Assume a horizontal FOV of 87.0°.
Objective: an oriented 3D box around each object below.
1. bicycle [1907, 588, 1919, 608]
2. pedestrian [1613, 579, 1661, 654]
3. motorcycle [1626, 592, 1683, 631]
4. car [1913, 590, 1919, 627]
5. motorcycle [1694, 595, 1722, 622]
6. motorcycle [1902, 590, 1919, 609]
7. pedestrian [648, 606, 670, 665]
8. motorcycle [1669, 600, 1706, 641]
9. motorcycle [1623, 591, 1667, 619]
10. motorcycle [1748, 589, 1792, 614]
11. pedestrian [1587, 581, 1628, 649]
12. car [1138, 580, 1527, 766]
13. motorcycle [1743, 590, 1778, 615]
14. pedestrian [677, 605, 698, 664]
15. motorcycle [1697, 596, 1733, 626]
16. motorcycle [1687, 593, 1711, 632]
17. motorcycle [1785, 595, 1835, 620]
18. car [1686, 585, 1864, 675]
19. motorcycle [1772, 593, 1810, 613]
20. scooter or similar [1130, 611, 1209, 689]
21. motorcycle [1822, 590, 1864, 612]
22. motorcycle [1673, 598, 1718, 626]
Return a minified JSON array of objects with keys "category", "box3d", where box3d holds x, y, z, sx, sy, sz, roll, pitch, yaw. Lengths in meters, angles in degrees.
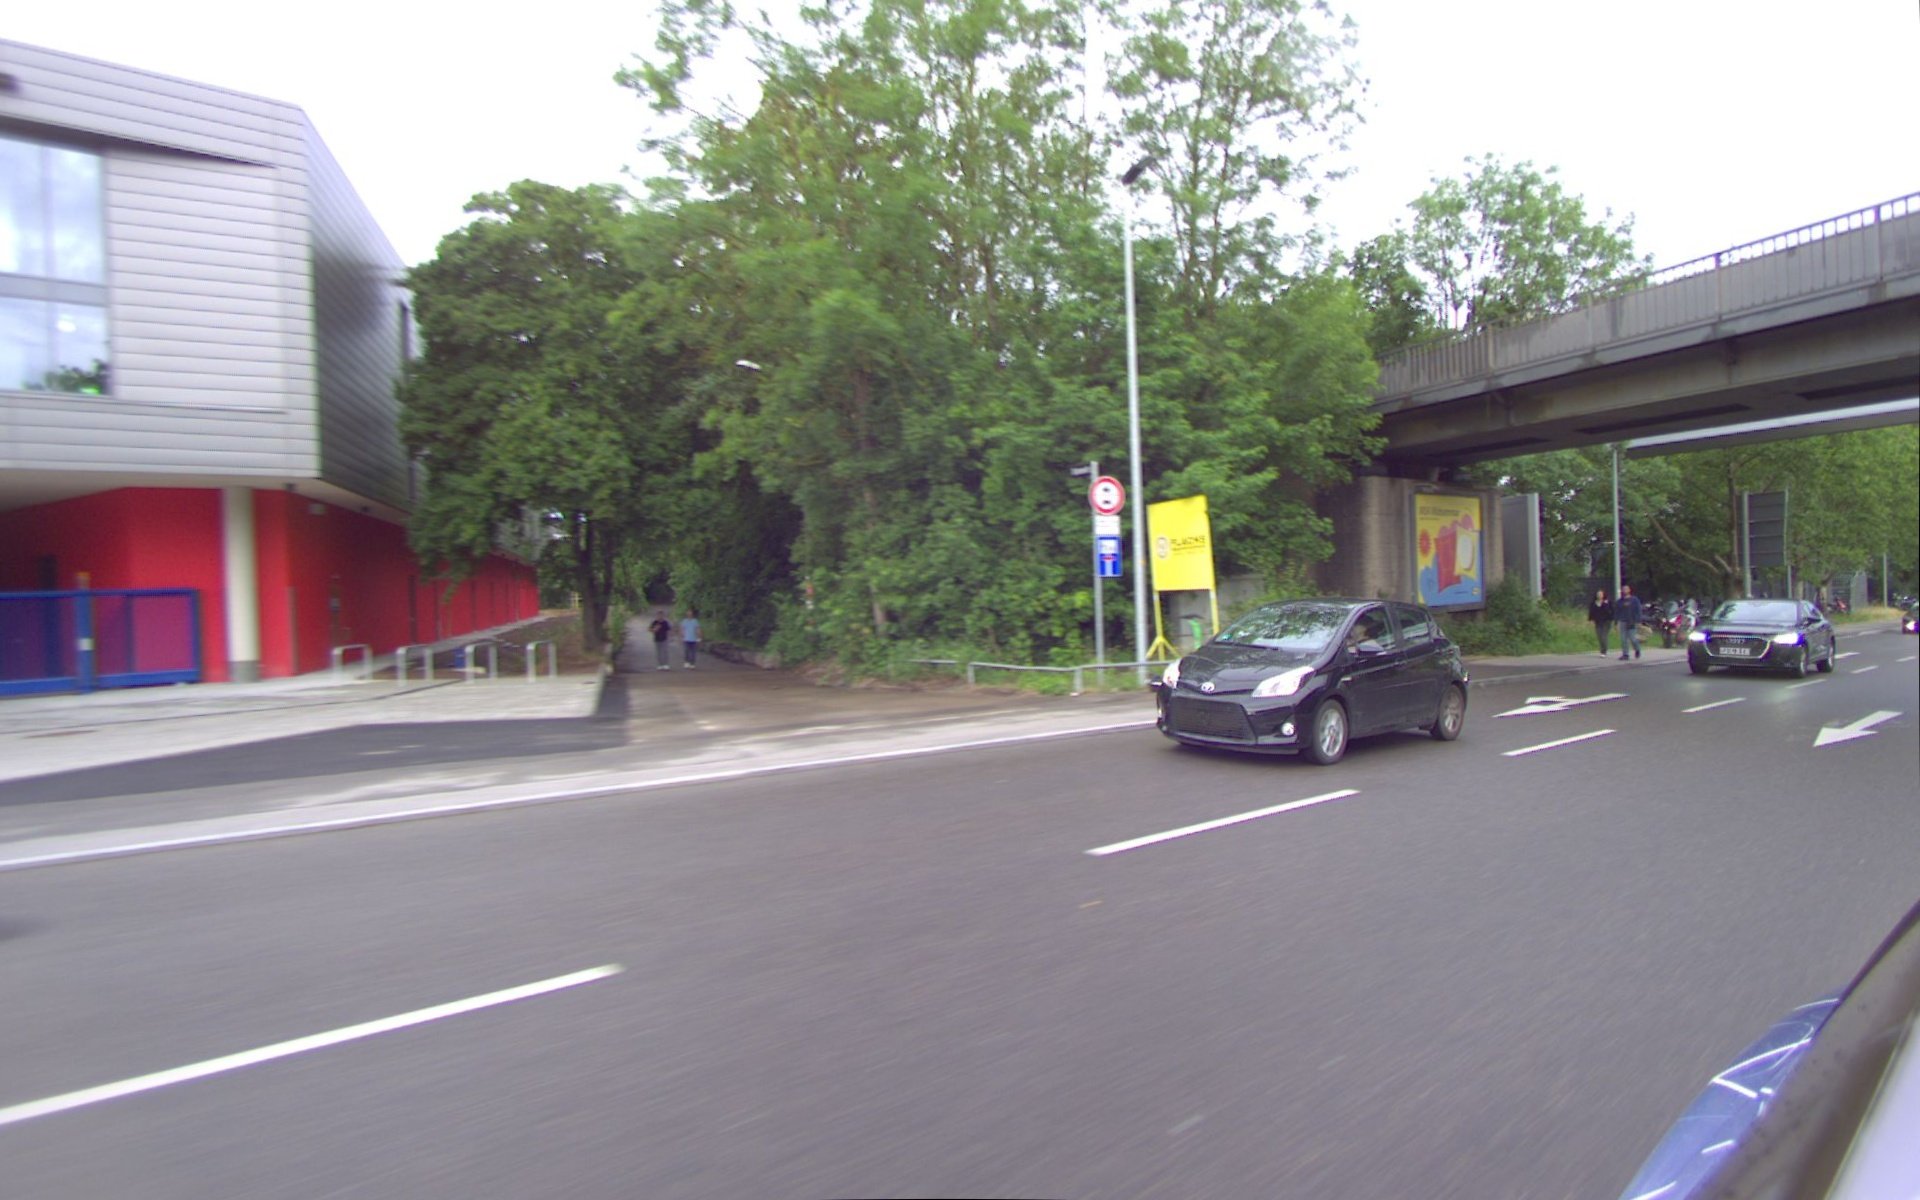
[{"category":"bicycle","box3d":[67.680,-0.144,70.918,1.854,1.365,0.441,0,1,39]},{"category":"pedestrian","box3d":[15.971,0.367,23.889,0.874,1.743,0.613,0,0,-30]},{"category":"motorcycle","box3d":[24.454,0.381,35.649,0.536,1.314,1.946,0,1,-5]},{"category":"car","box3d":[40.896,0.296,41.753,4.437,1.448,1.748,-2,0,-40]},{"category":"motorcycle","box3d":[36.713,0.414,49.646,1.956,1.295,0.646,-1,0,-40]},{"category":"motorcycle","box3d":[64.983,-0.030,68.319,0.432,1.289,2.018,0,1,-27]},{"category":"pedestrian","box3d":[-9.395,1.096,31.588,0.612,1.839,0.587,0,-1,-11]},{"category":"motorcycle","box3d":[21.422,0.588,29.794,1.787,1.151,0.470,-1,0,-40]},{"category":"motorcycle","box3d":[31.519,0.219,46.568,2.028,1.295,0.350,0,0,-11]},{"category":"motorcycle","box3d":[48.026,0.100,60.027,0.498,1.382,1.929,-1,-1,-44]},{"category":"pedestrian","box3d":[15.763,0.359,24.639,0.567,1.616,0.653,0,0,-28]},{"category":"car","box3d":[4.049,0.599,10.591,4.559,1.488,1.748,-2,0,-40]},{"category":"motorcycle","box3d":[46.428,0.151,58.710,0.498,1.382,1.499,-1,-2,-44]},{"category":"pedestrian","box3d":[-8.593,1.068,31.961,0.588,1.839,0.587,0,-1,-11]},{"category":"motorcycle","box3d":[33.322,0.463,44.666,0.621,1.268,1.845,0,0,15]},{"category":"motorcycle","box3d":[24.322,0.408,33.338,0.467,1.228,1.923,0,1,31]},{"category":"motorcycle","box3d":[42.180,0.356,50.247,1.842,1.206,0.515,0,0,36]},{"category":"car","box3d":[17.009,0.536,21.004,5.510,1.564,1.819,-2,0,-40]},{"category":"motorcycle","box3d":[51.330,0.181,62.525,0.548,1.160,1.645,-2,-1,-28]},{"category":"scooter or similar","box3d":[3.210,0.747,15.477,1.252,1.144,0.256,0,-1,-23]},{"category":"motorcycle","box3d":[49.517,0.066,56.772,0.483,1.165,1.659,-2,-1,-31]},{"category":"motorcycle","box3d":[34.609,0.564,47.623,1.816,1.295,0.522,0,0,-8]}]
